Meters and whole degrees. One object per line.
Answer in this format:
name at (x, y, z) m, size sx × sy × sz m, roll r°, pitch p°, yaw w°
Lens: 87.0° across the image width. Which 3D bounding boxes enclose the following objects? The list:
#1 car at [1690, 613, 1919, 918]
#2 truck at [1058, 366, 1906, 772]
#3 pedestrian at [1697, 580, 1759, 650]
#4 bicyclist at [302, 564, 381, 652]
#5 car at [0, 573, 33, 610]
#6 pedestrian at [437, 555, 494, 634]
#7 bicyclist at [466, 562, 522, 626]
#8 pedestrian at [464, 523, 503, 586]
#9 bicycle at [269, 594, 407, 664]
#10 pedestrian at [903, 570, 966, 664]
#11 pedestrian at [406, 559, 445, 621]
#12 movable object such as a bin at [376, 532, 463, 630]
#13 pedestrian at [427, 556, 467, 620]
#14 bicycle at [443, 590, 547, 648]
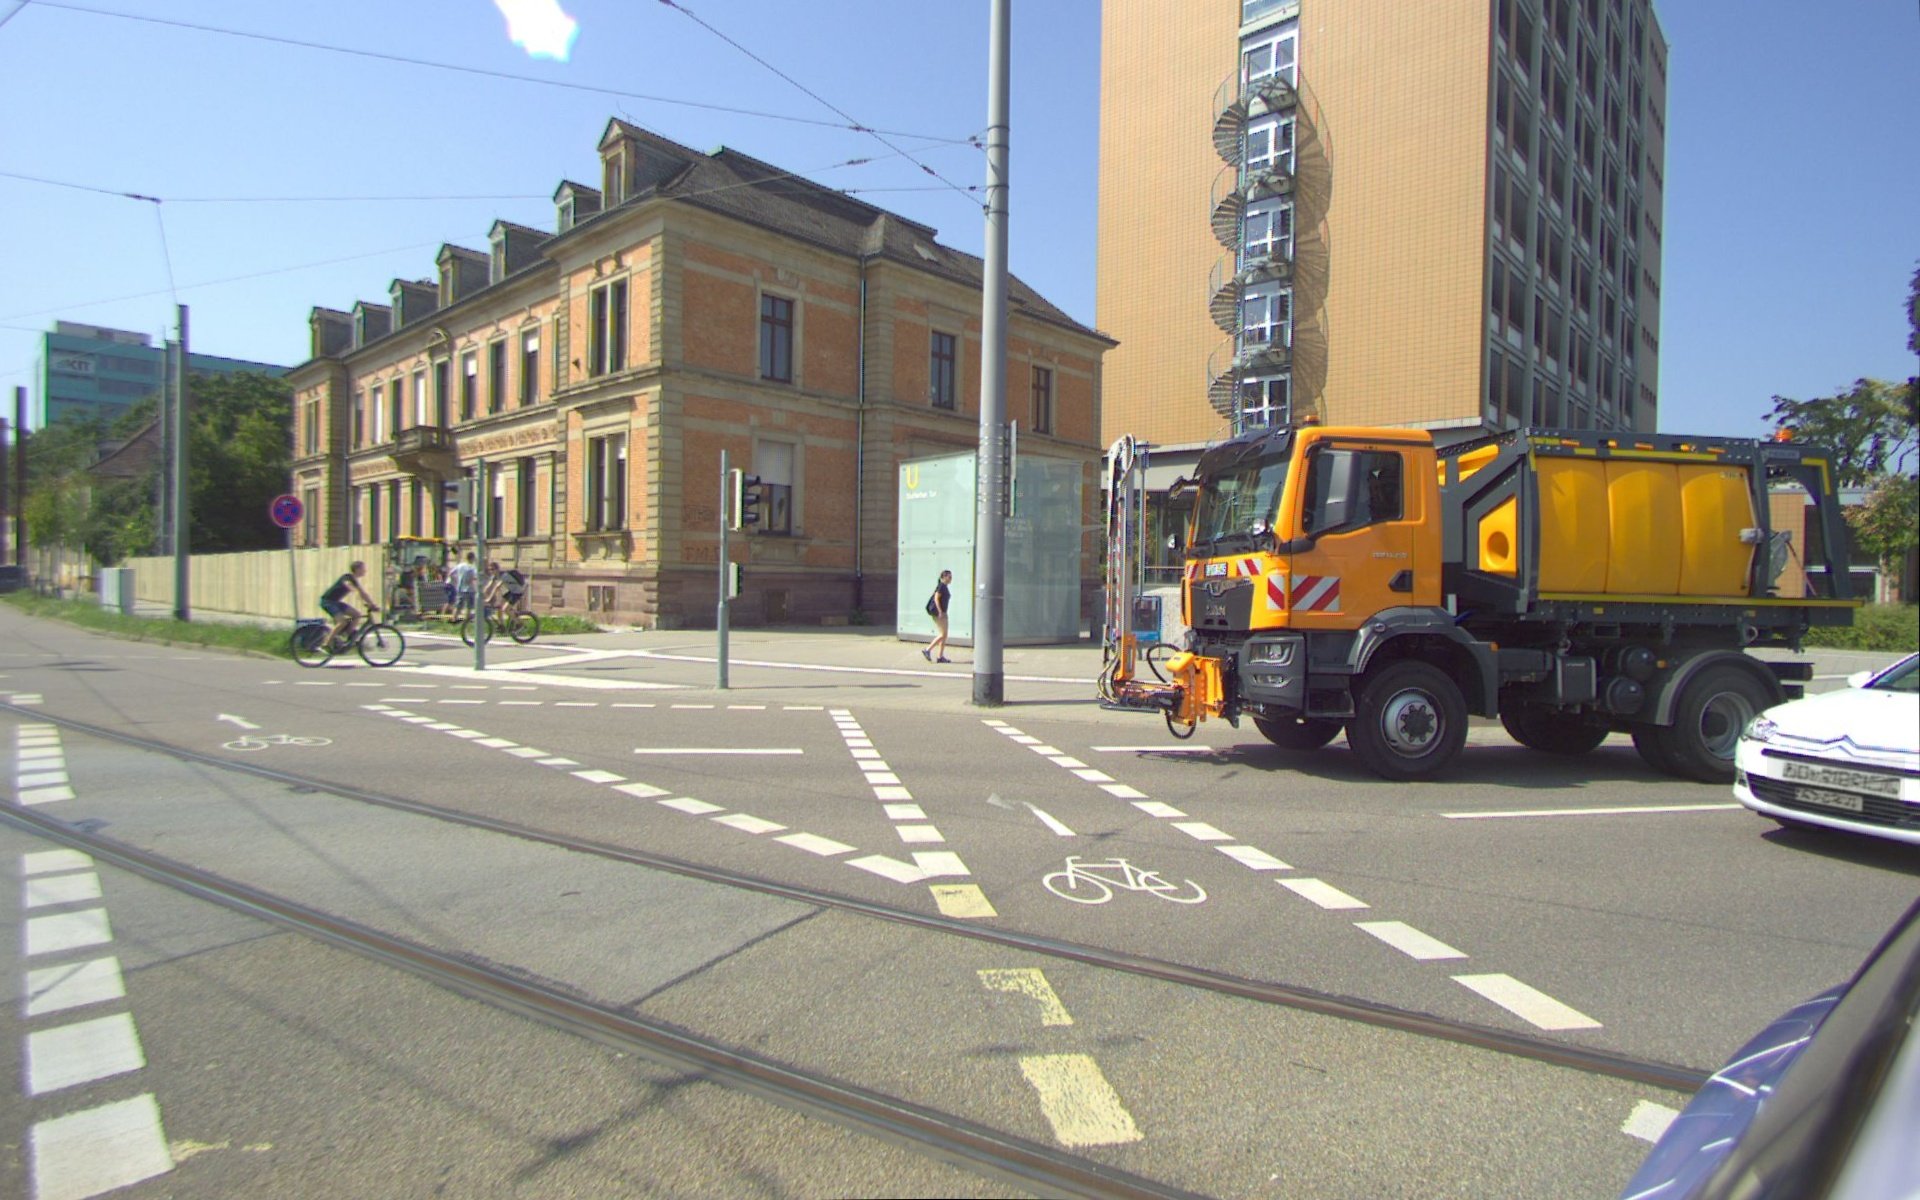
car at (7.265, 0.925, 6.473) m, size 4.506 × 1.639 × 1.775 m, roll 1°, pitch -1°, yaw -16°
truck at (4.803, -0.198, 10.139) m, size 7.043 × 3.270 × 3.046 m, roll 1°, pitch -1°, yaw -8°
pedestrian at (15.996, 0.295, 21.082) m, size 0.832 × 1.412 × 0.787 m, roll 0°, pitch 1°, yaw -32°
bicyclist at (-10.362, 0.129, 16.979) m, size 0.911 × 1.441 × 0.805 m, roll 1°, pitch 0°, yaw -13°
car at (-54.324, -0.449, 57.729) m, size 1.965 × 2.039 × 3.994 m, roll 0°, pitch -1°, yaw -40°
pedestrian at (-11.775, -0.145, 24.114) m, size 1.023 × 1.836 × 0.682 m, roll 1°, pitch 1°, yaw 12°
bicyclist at (-9.518, -0.130, 20.655) m, size 0.847 × 1.249 × 1.102 m, roll 0°, pitch 1°, yaw -34°
pedestrian at (-13.060, -1.235, 27.764) m, size 0.675 × 1.693 × 0.682 m, roll 1°, pitch 1°, yaw 12°
bicycle at (-10.377, 0.483, 16.928) m, size 1.916 × 1.140 × 0.473 m, roll 1°, pitch 0°, yaw -12°
pedestrian at (-0.451, 0.281, 18.233) m, size 0.937 × 1.628 × 0.789 m, roll 0°, pitch 2°, yaw 18°
pedestrian at (-14.774, -0.287, 27.980) m, size 0.675 × 1.693 × 0.682 m, roll 1°, pitch 1°, yaw 12°
movable object such as a bin at (-16.326, -0.586, 30.445) m, size 1.784 × 2.705 × 4.456 m, roll 0°, pitch 1°, yaw -35°
pedestrian at (-13.764, -0.330, 27.185) m, size 0.675 × 1.693 × 0.682 m, roll 1°, pitch 1°, yaw 12°
bicycle at (-9.488, 0.368, 20.673) m, size 1.820 × 1.125 × 0.713 m, roll 0°, pitch 1°, yaw -35°
